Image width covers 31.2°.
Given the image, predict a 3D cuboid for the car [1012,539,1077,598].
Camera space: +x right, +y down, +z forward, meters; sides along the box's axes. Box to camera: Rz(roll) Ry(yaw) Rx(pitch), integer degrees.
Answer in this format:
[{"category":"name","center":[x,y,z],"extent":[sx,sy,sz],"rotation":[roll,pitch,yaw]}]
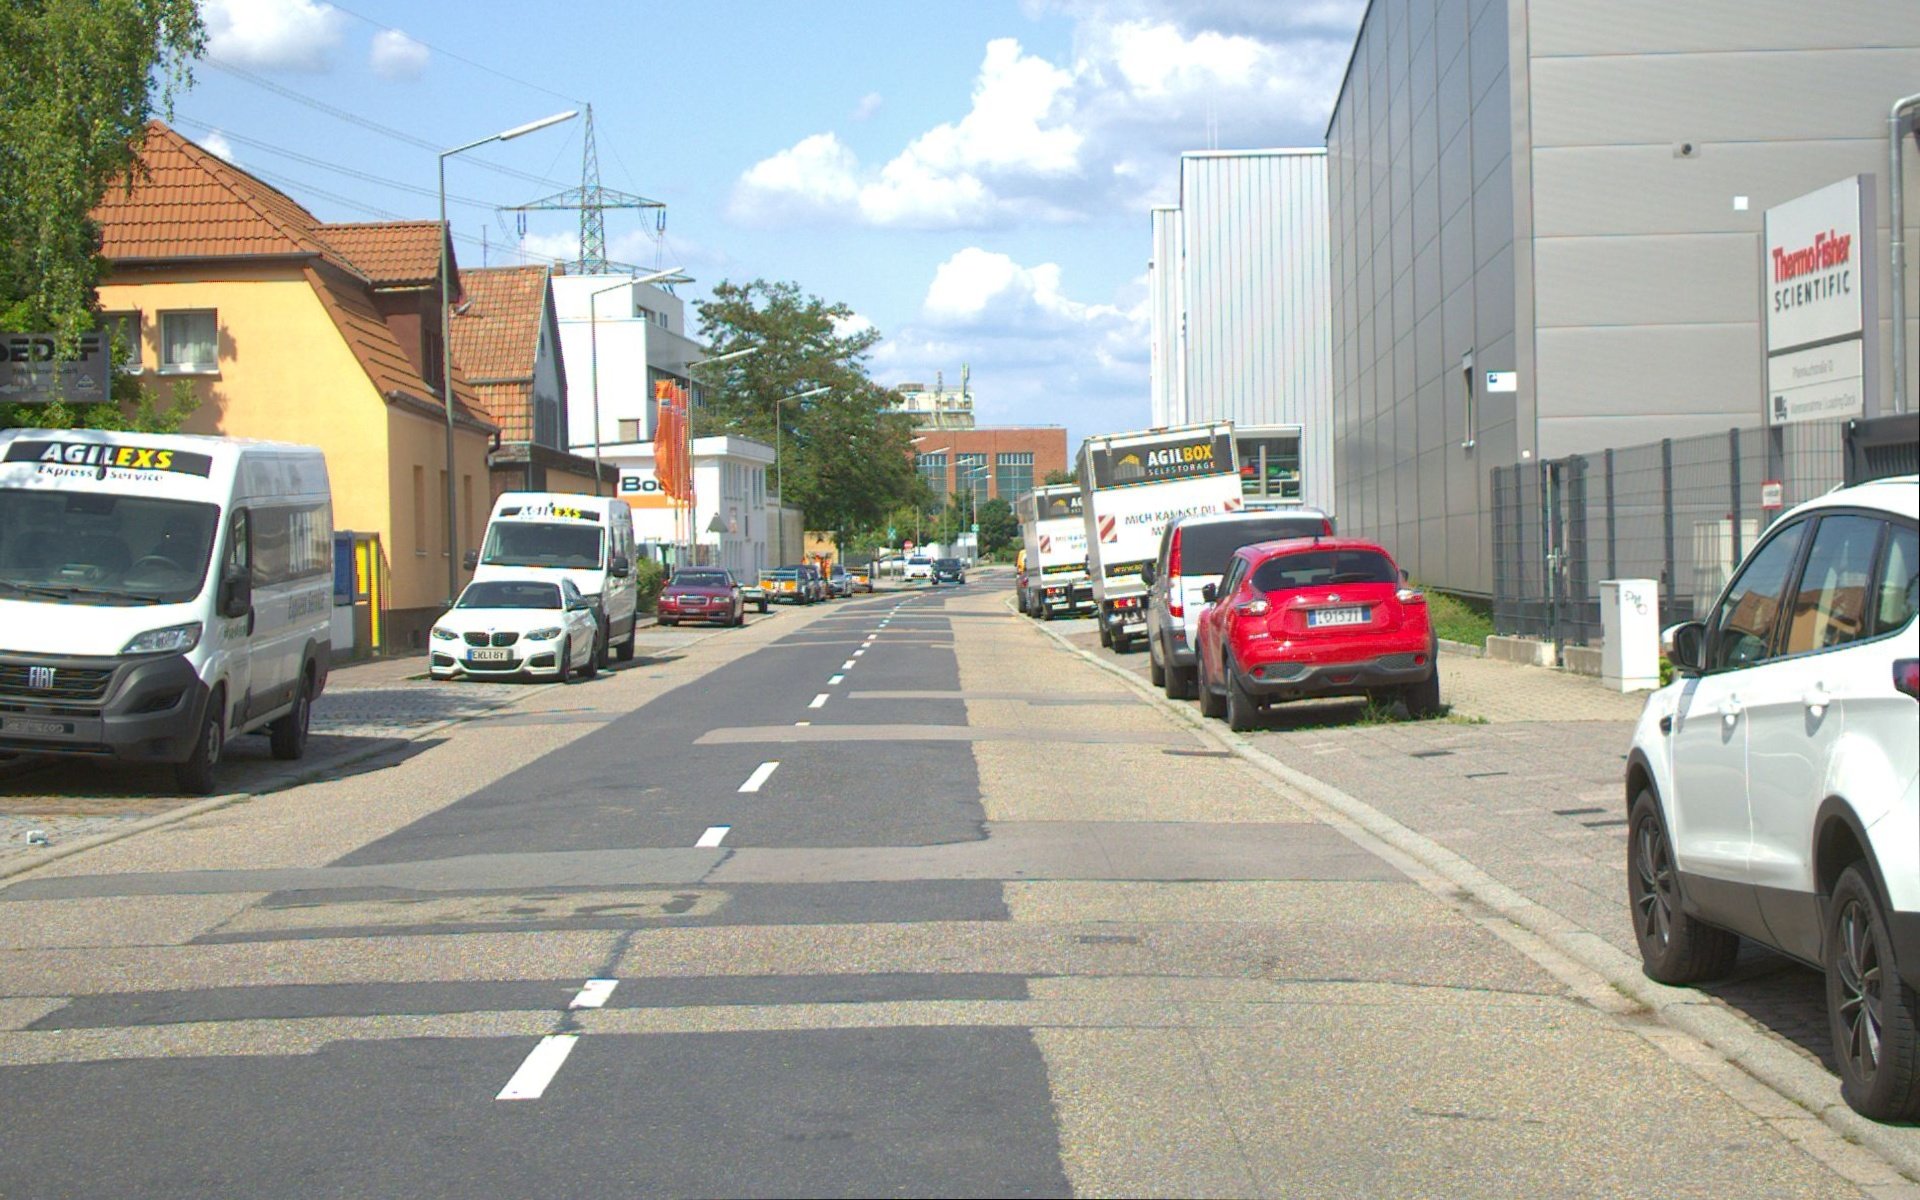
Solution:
[{"category":"car","center":[2.393,-0.890,98.053],"extent":[1.768,1.607,3.873],"rotation":[-2,0,1]}]

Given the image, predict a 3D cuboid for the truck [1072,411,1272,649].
[{"category":"truck","center":[3.254,-1.072,54.410],"extent":[2.458,3.282,6.817],"rotation":[-6,1,0]}]

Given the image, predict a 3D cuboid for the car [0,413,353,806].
[{"category":"car","center":[-6.052,0.037,25.736],"extent":[2.030,2.549,6.658],"rotation":[1,0,-2]}]

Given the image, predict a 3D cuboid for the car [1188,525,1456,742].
[{"category":"car","center":[3.062,0.258,29.837],"extent":[1.704,1.619,4.093],"rotation":[-5,0,-1]}]

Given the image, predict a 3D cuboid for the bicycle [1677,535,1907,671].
[{"category":"bicycle","center":[7.645,0.028,31.636],"extent":[1.950,1.139,0.457],"rotation":[-3,1,3]}]

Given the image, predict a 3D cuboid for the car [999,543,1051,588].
[{"category":"car","center":[2.648,-1.385,139.578],"extent":[1.940,1.736,4.376],"rotation":[-2,0,2]}]

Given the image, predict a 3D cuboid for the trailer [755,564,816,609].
[{"category":"trailer","center":[-6.288,-0.511,124.145],"extent":[1.993,1.551,4.253],"rotation":[-1,1,0]}]

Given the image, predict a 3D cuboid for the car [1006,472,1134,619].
[{"category":"car","center":[2.670,-1.325,85.579],"extent":[2.388,3.351,6.646],"rotation":[-4,1,-3]}]

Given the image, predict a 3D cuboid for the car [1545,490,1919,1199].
[{"category":"car","center":[3.195,0.507,10.331],"extent":[1.935,1.687,4.680],"rotation":[-4,1,0]}]

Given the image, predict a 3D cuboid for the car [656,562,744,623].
[{"category":"car","center":[-6.353,-0.182,84.438],"extent":[1.762,1.442,4.741],"rotation":[0,0,0]}]

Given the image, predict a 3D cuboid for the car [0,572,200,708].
[{"category":"car","center":[-11.327,0.490,44.480],"extent":[1.866,1.458,4.143],"rotation":[-3,2,2]}]

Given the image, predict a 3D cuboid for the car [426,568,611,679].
[{"category":"car","center":[-5.781,0.283,45.491],"extent":[1.796,1.392,4.501],"rotation":[0,0,1]}]

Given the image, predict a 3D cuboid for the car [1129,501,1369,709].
[{"category":"car","center":[3.005,0.013,36.828],"extent":[2.054,1.897,5.147],"rotation":[-5,1,1]}]

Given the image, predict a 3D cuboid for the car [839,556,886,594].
[{"category":"car","center":[-4.612,-1.187,163.169],"extent":[1.922,1.788,4.000],"rotation":[0,0,2]}]

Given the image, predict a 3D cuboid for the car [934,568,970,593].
[{"category":"car","center":[-0.443,-1.054,187.800],"extent":[1.918,1.280,3.615],"rotation":[-2,1,0]}]

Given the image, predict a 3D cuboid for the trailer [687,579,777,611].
[{"category":"trailer","center":[-6.808,-0.163,103.124],"extent":[2.362,0.890,5.569],"rotation":[0,0,0]}]

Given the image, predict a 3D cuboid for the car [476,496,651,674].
[{"category":"car","center":[-6.003,-0.238,52.796],"extent":[2.026,2.552,6.840],"rotation":[0,0,-1]}]

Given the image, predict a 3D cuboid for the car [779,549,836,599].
[{"category":"car","center":[-6.189,-1.045,139.711],"extent":[1.994,2.007,4.000],"rotation":[0,0,2]}]

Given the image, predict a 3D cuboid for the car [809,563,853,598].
[{"category":"car","center":[-5.439,-0.831,145.220],"extent":[1.668,1.442,3.453],"rotation":[0,0,0]}]
